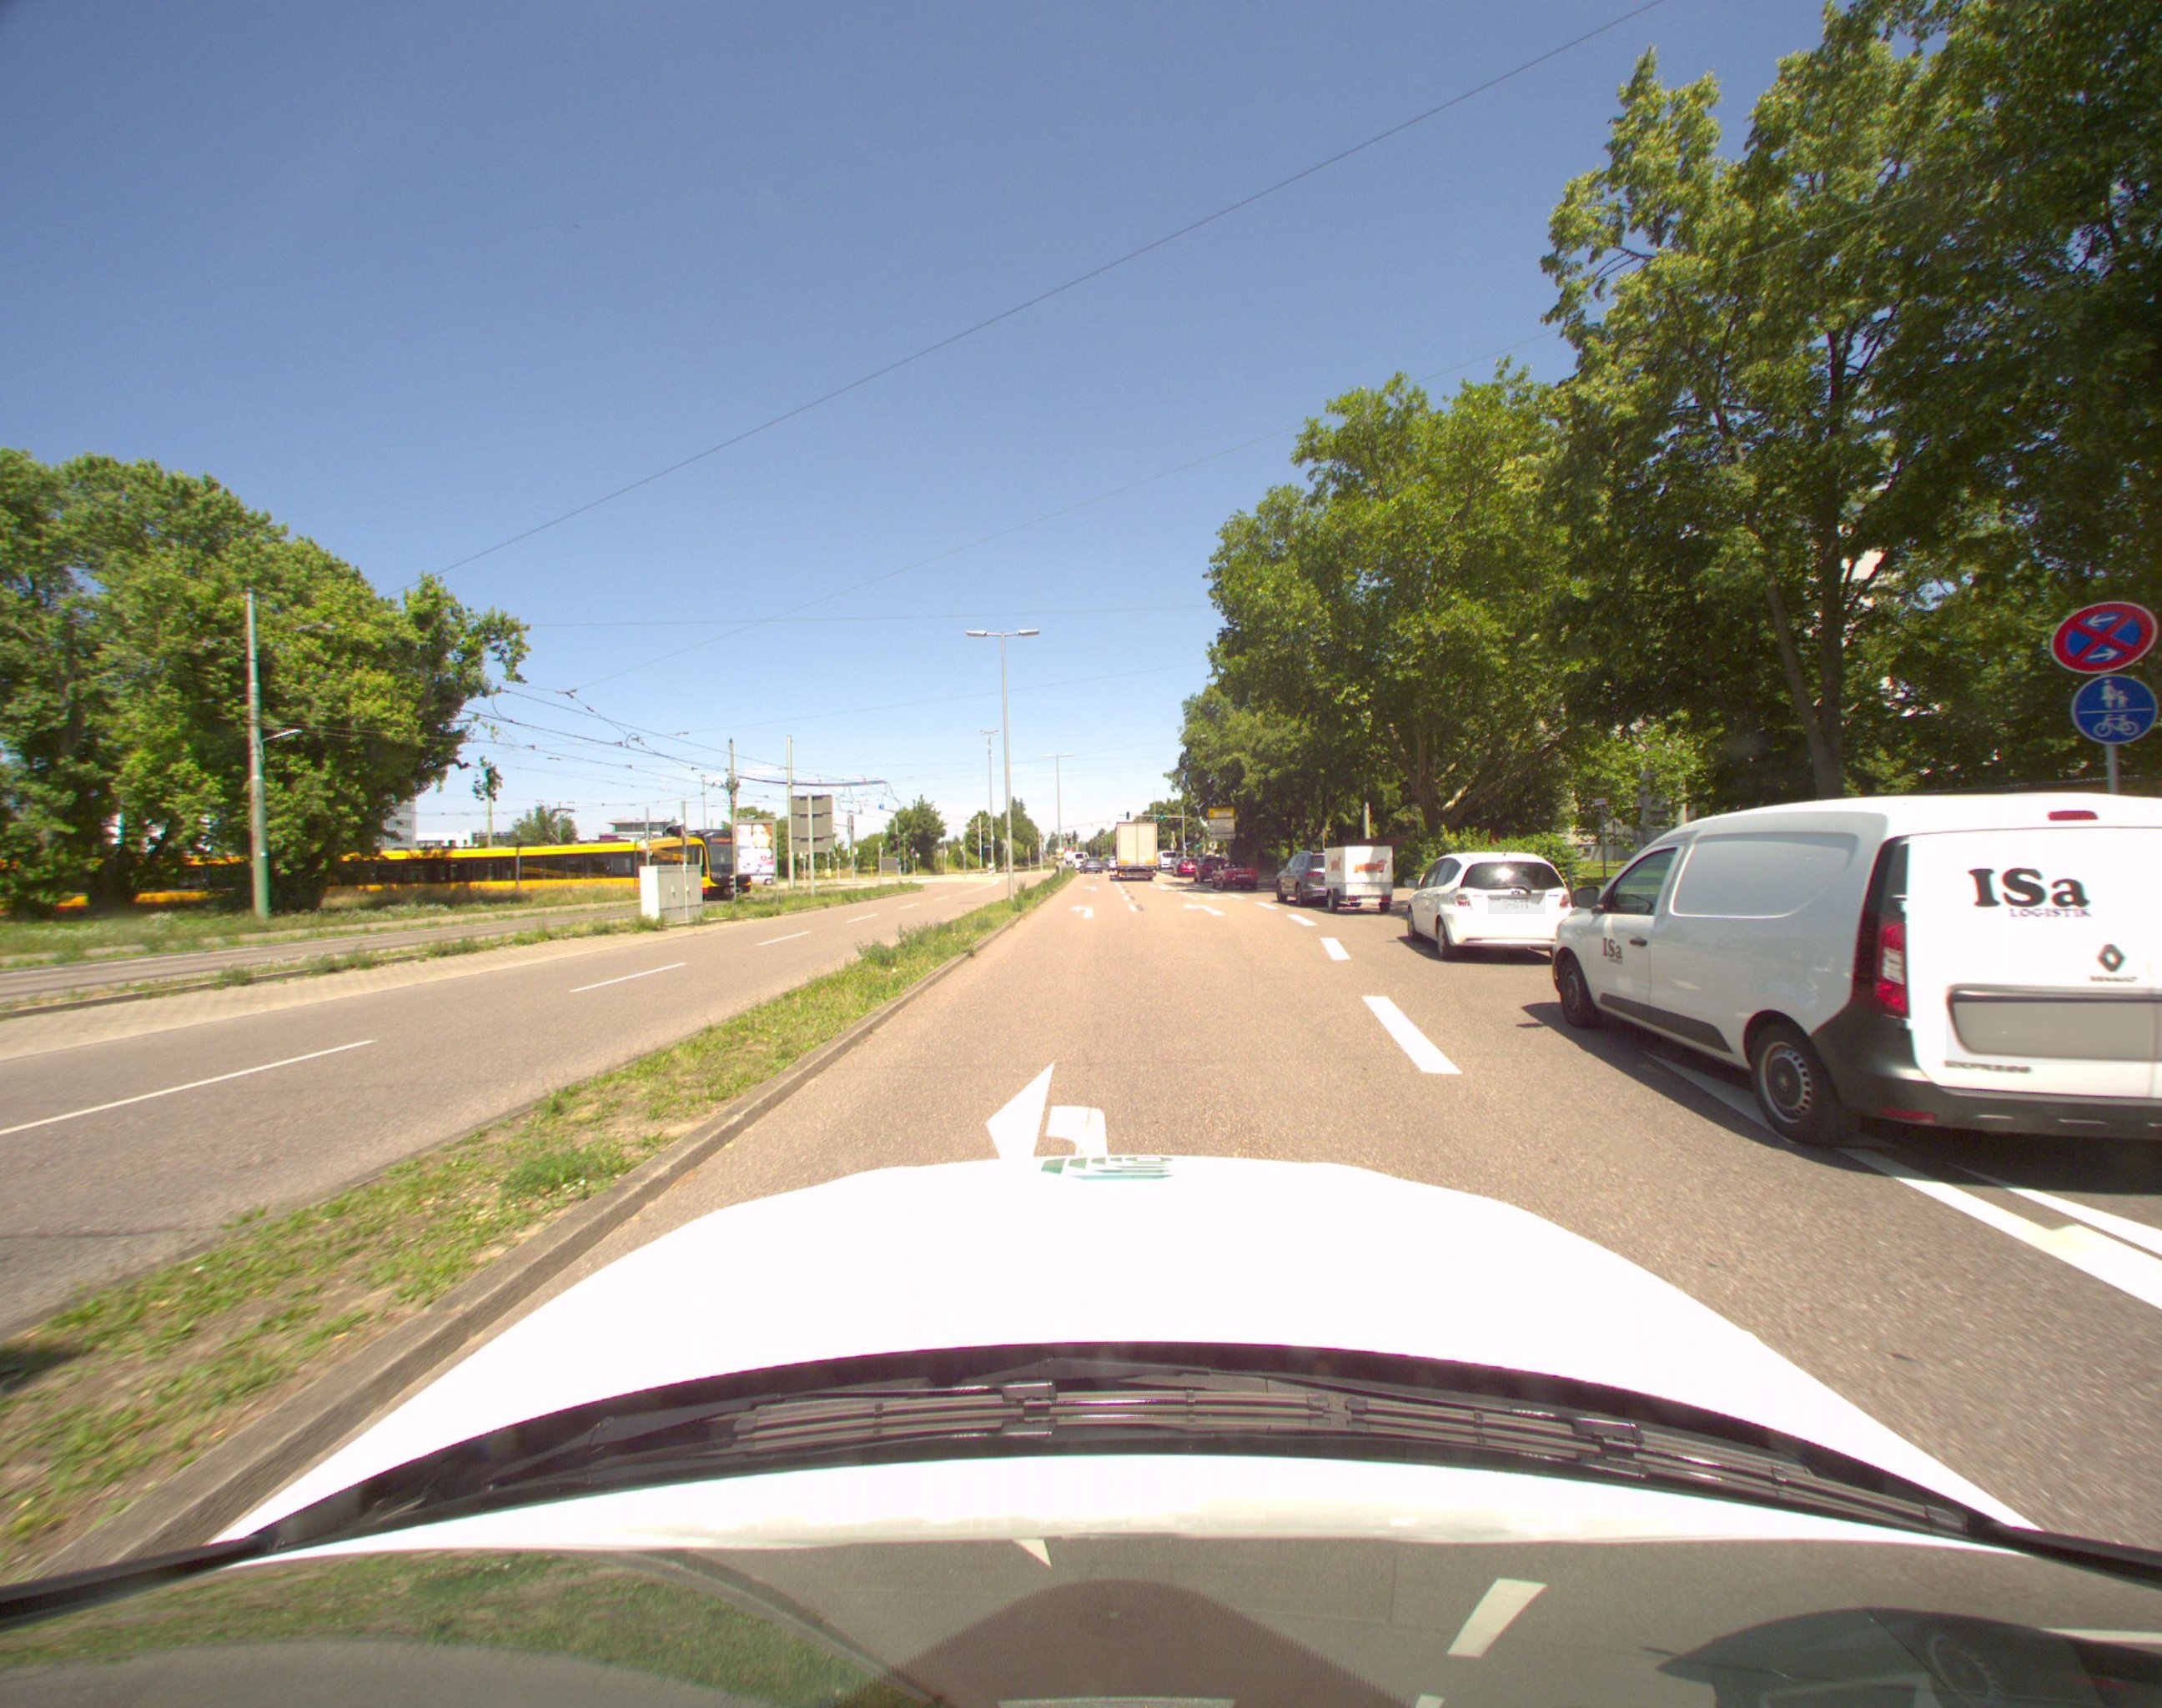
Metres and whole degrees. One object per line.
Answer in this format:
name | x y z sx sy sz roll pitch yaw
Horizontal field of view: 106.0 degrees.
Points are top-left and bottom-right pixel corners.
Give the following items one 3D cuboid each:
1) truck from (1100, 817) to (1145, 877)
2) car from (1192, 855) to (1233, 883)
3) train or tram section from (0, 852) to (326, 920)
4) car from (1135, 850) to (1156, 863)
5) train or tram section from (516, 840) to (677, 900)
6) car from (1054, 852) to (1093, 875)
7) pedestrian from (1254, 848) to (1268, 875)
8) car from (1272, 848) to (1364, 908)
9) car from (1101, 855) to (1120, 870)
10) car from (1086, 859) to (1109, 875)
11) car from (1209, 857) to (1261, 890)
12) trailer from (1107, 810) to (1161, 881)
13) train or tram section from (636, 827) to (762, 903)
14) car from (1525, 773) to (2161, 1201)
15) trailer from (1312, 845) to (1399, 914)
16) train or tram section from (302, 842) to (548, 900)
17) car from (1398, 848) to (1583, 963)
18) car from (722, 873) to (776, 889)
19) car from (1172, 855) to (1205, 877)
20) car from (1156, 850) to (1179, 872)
truck | 3.135 -0.539 63.838 2.820 4.344 8.278 0 0 -2
car | 7.865 0.871 49.107 1.852 1.549 3.886 0 0 0
train or tram section | -53.138 1.672 47.757 3.008 3.466 12.826 -1 0 44
car | 7.597 0.294 96.091 1.987 1.437 4.250 -1 1 -1
train or tram section | -30.078 0.946 50.468 10.101 3.466 3.063 0 0 22
car | -0.771 0.917 81.429 2.004 2.111 4.706 -2 1 -26
pedestrian | 12.481 0.499 56.393 0.750 1.816 0.693 -3 0 0
car | 7.104 0.657 24.848 1.693 1.654 4.401 0 0 2
car | 3.079 0.885 84.030 1.884 1.371 4.435 -1 1 4
car | 1.547 1.161 74.131 1.884 1.372 4.434 1 -1 4
car | 7.071 0.869 37.769 1.649 1.396 4.266 0 0 0
trailer | 3.448 -0.550 55.311 2.820 4.421 8.742 0 0 -2
train or tram section | -20.644 0.512 43.349 3.061 3.466 13.139 0 0 -39
car | 4.699 0.541 5.530 1.698 1.747 4.441 0 0 11
trailer | 7.067 0.615 21.209 1.462 1.669 2.859 0 0 3
train or tram section | -41.605 1.024 52.027 12.685 3.466 3.042 0 0 -5
car | 6.102 0.664 12.600 1.708 1.488 3.892 0 0 14
car | -30.365 2.443 74.480 4.295 1.293 1.980 -2 1 -31
car | 8.054 0.896 61.111 1.986 1.503 4.504 -2 0 2
car | 8.556 0.678 80.641 1.885 2.121 3.886 0 0 0
